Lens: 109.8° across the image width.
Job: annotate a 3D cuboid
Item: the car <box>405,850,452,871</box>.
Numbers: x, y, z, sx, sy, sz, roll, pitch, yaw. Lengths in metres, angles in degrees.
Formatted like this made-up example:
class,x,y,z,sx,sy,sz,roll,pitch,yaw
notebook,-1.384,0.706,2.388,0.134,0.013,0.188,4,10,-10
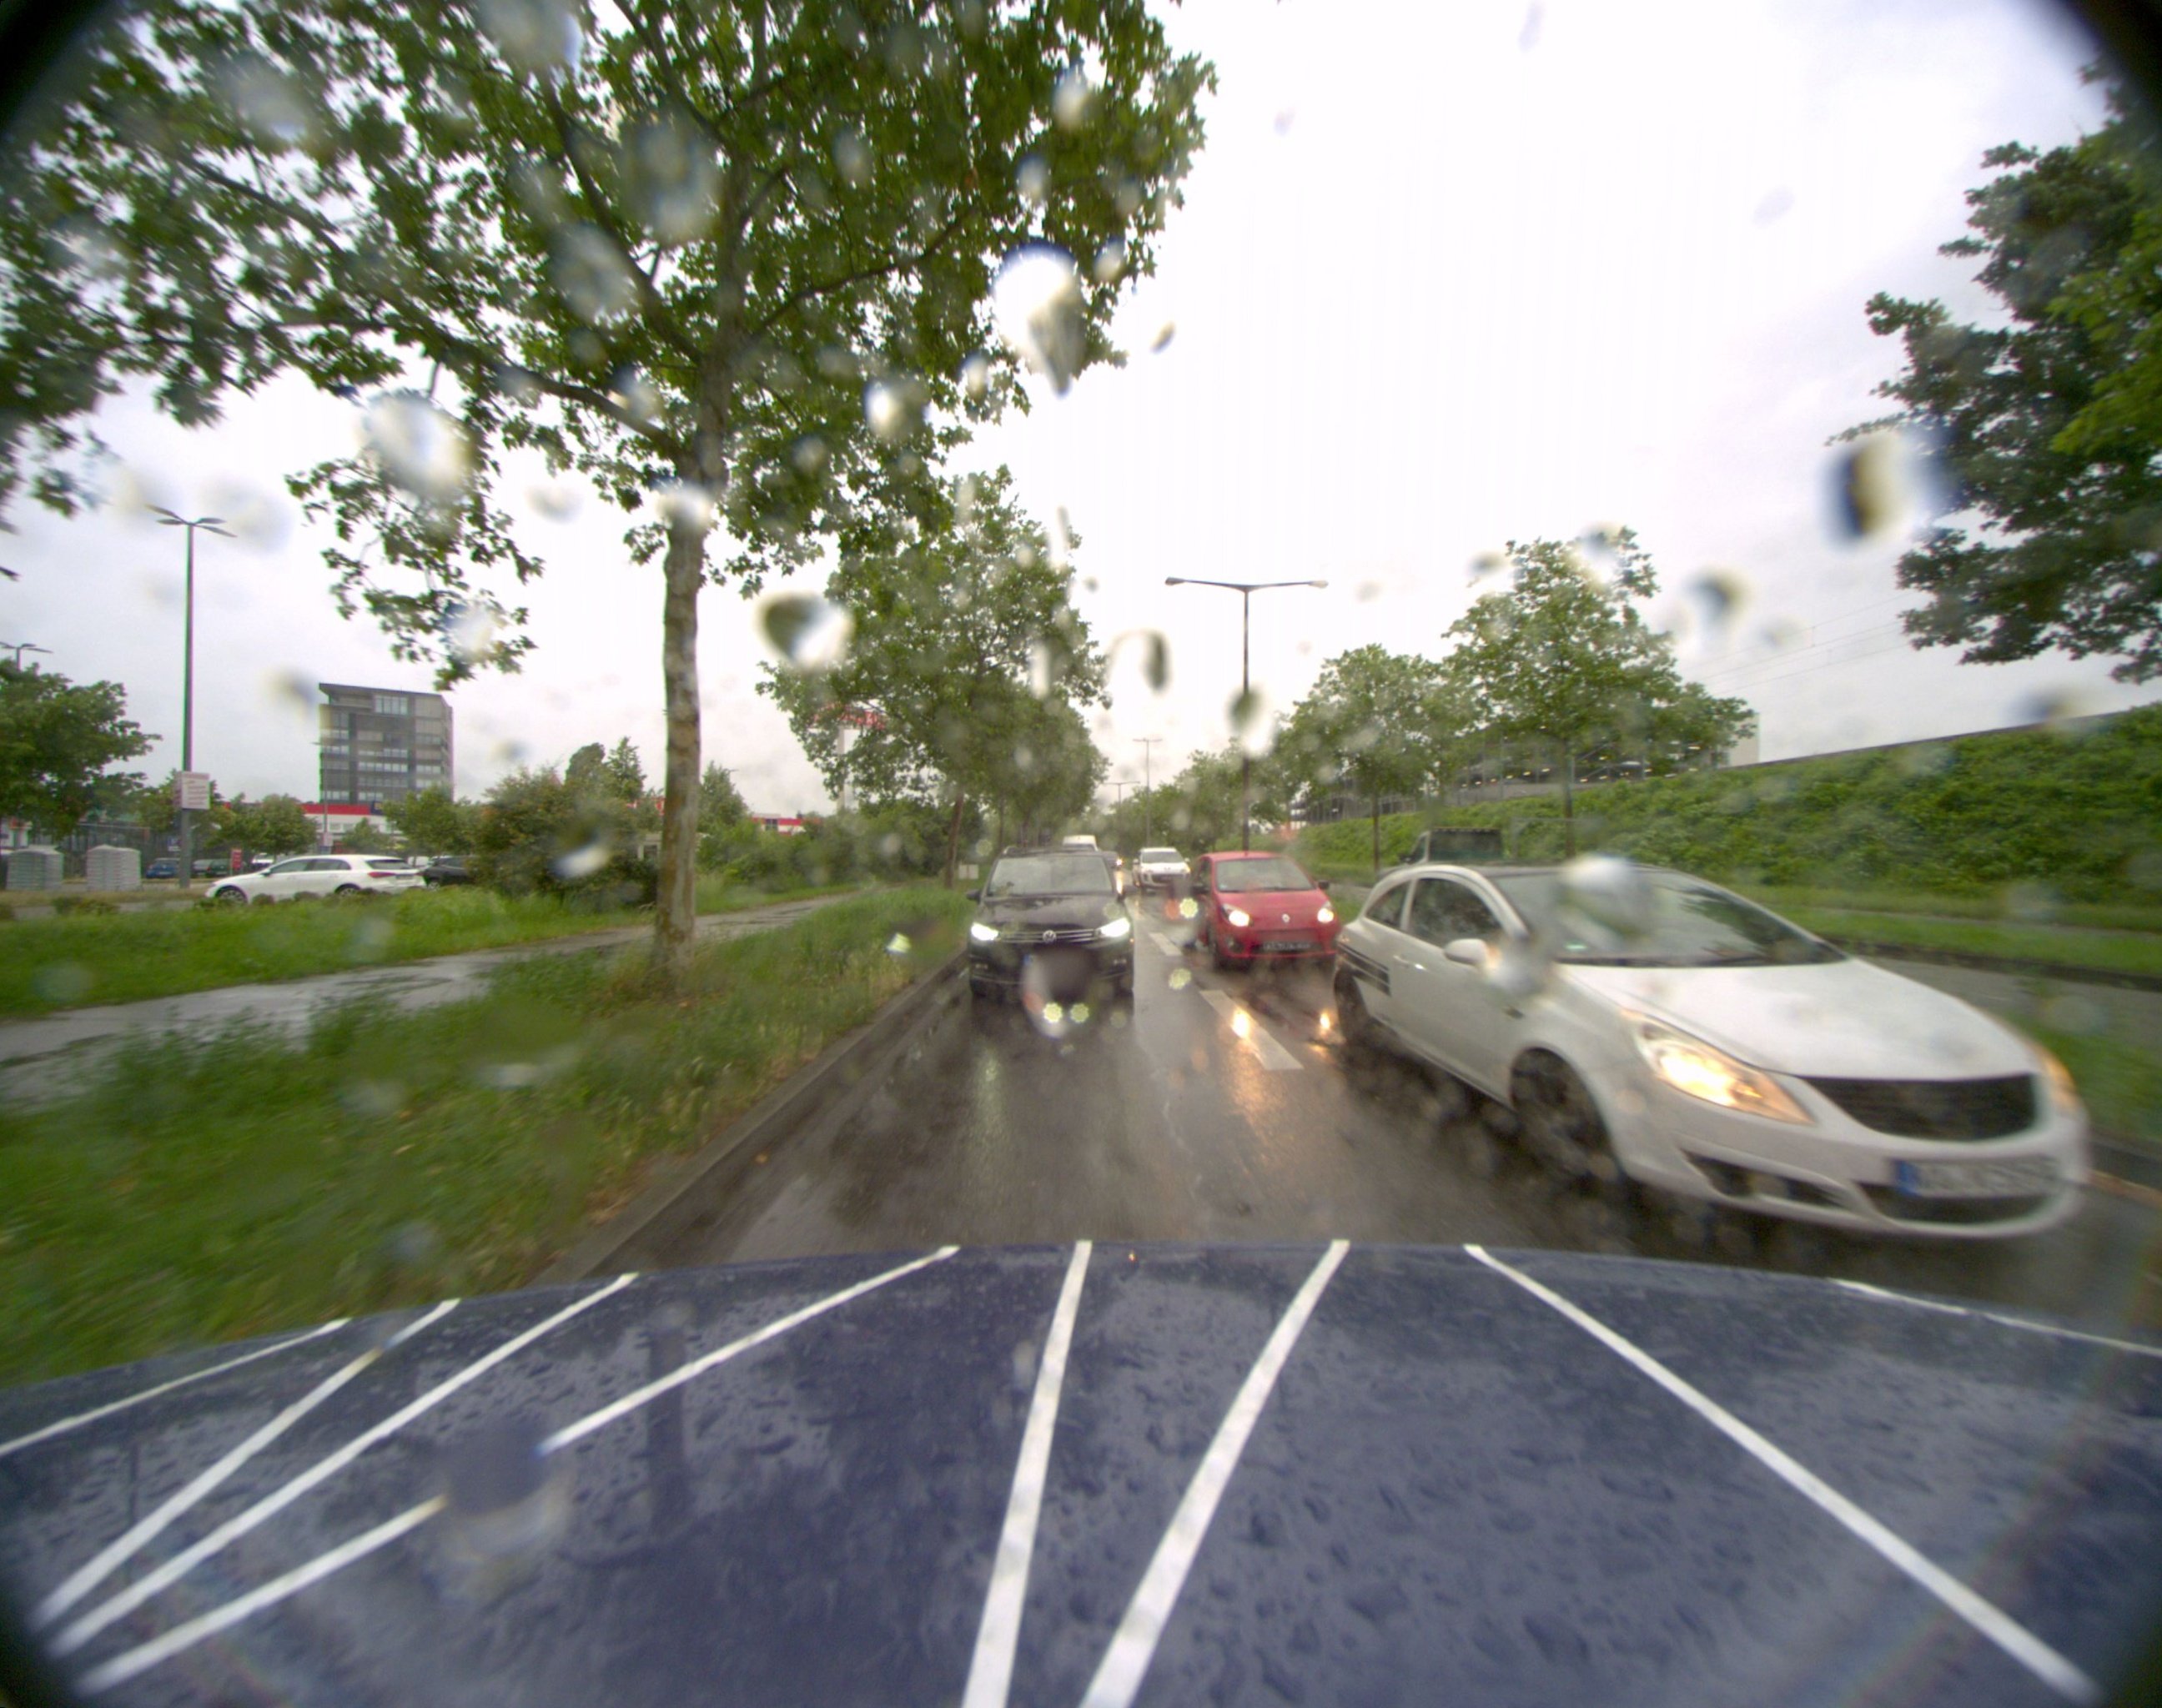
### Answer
class,x,y,z,sx,sy,sz,roll,pitch,yaw
car,-50.972,0.459,59.433,1.933,1.543,4.263,0,1,-29

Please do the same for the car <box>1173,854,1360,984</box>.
class,x,y,z,sx,sy,sz,roll,pitch,yaw
car,2.460,0.780,11.117,1.724,1.456,4.092,-2,0,0

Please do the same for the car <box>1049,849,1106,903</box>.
class,x,y,z,sx,sy,sz,roll,pitch,yaw
car,-0.115,0.728,27.331,1.831,1.737,4.146,-2,0,0

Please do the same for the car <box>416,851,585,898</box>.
class,x,y,z,sx,sy,sz,roll,pitch,yaw
car,-19.999,0.690,26.343,4.272,1.543,1.929,0,1,-5

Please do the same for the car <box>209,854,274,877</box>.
class,x,y,z,sx,sy,sz,roll,pitch,yaw
car,-59.641,0.796,54.062,1.933,1.543,4.262,0,1,-31

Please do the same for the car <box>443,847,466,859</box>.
class,x,y,z,sx,sy,sz,roll,pitch,yaw
car,-98.768,-0.135,119.793,1.933,1.866,4.263,0,1,-28

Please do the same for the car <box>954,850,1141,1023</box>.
class,x,y,z,sx,sy,sz,roll,pitch,yaw
car,-0.380,0.794,9.716,1.771,1.596,4.625,-2,1,-1

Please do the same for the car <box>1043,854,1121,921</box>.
class,x,y,z,sx,sy,sz,roll,pitch,yaw
car,0.018,0.766,19.494,1.724,1.456,4.092,-2,0,0

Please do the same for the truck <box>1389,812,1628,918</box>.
class,x,y,z,sx,sy,sz,roll,pitch,yaw
truck,10.873,0.206,20.285,2.480,2.351,6.866,0,1,0

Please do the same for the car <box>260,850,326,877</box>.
class,x,y,z,sx,sy,sz,roll,pitch,yaw
car,-49.007,0.567,47.367,1.933,1.543,4.262,-1,1,-33

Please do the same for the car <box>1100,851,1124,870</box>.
class,x,y,z,sx,sy,sz,roll,pitch,yaw
car,2.670,0.539,65.896,1.715,1.494,3.999,-2,1,-2

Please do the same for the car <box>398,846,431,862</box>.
class,x,y,z,sx,sy,sz,roll,pitch,yaw
car,-79.067,-0.044,90.198,1.933,1.866,4.263,0,1,-28

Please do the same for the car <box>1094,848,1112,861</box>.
class,x,y,z,sx,sy,sz,roll,pitch,yaw
car,2.641,0.033,92.070,1.715,1.494,3.998,-2,1,-4

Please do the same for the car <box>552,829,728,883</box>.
class,x,y,z,sx,sy,sz,roll,pitch,yaw
car,-19.761,0.064,34.362,6.425,2.349,2.390,0,1,-9

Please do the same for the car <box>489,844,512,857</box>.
class,x,y,z,sx,sy,sz,roll,pitch,yaw
car,-82.166,-0.518,107.622,1.933,1.716,4.263,0,1,-29

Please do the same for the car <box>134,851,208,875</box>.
class,x,y,z,sx,sy,sz,roll,pitch,yaw
car,-62.150,0.584,51.994,1.933,1.543,4.262,0,1,-31

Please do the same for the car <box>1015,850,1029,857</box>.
class,x,y,z,sx,sy,sz,roll,pitch,yaw
car,-13.352,-0.134,171.779,2.002,1.609,3.993,-3,1,-20

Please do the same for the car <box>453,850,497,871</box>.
class,x,y,z,sx,sy,sz,roll,pitch,yaw
car,-47.014,0.435,59.049,1.933,1.543,4.263,0,1,-29

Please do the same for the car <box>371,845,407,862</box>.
class,x,y,z,sx,sy,sz,roll,pitch,yaw
car,-68.967,-0.065,75.787,2.006,1.667,4.262,-1,1,-33

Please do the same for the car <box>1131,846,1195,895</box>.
class,x,y,z,sx,sy,sz,roll,pitch,yaw
car,2.962,0.552,28.282,1.831,1.603,4.146,-2,0,0

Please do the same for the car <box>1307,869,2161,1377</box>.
class,x,y,z,sx,sy,sz,roll,pitch,yaw
car,2.777,0.848,4.301,1.683,1.369,4.010,-2,0,-1

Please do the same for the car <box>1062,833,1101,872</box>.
class,x,y,z,sx,sy,sz,roll,pitch,yaw
car,0.048,-0.143,42.799,1.998,2.002,5.131,-2,1,1

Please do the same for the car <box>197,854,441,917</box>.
class,x,y,z,sx,sy,sz,roll,pitch,yaw
car,-19.822,0.782,19.948,4.272,1.543,1.929,0,1,-5

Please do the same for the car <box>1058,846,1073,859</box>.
class,x,y,z,sx,sy,sz,roll,pitch,yaw
car,-2.502,-0.268,122.139,1.726,2.002,3.995,-2,1,-11
